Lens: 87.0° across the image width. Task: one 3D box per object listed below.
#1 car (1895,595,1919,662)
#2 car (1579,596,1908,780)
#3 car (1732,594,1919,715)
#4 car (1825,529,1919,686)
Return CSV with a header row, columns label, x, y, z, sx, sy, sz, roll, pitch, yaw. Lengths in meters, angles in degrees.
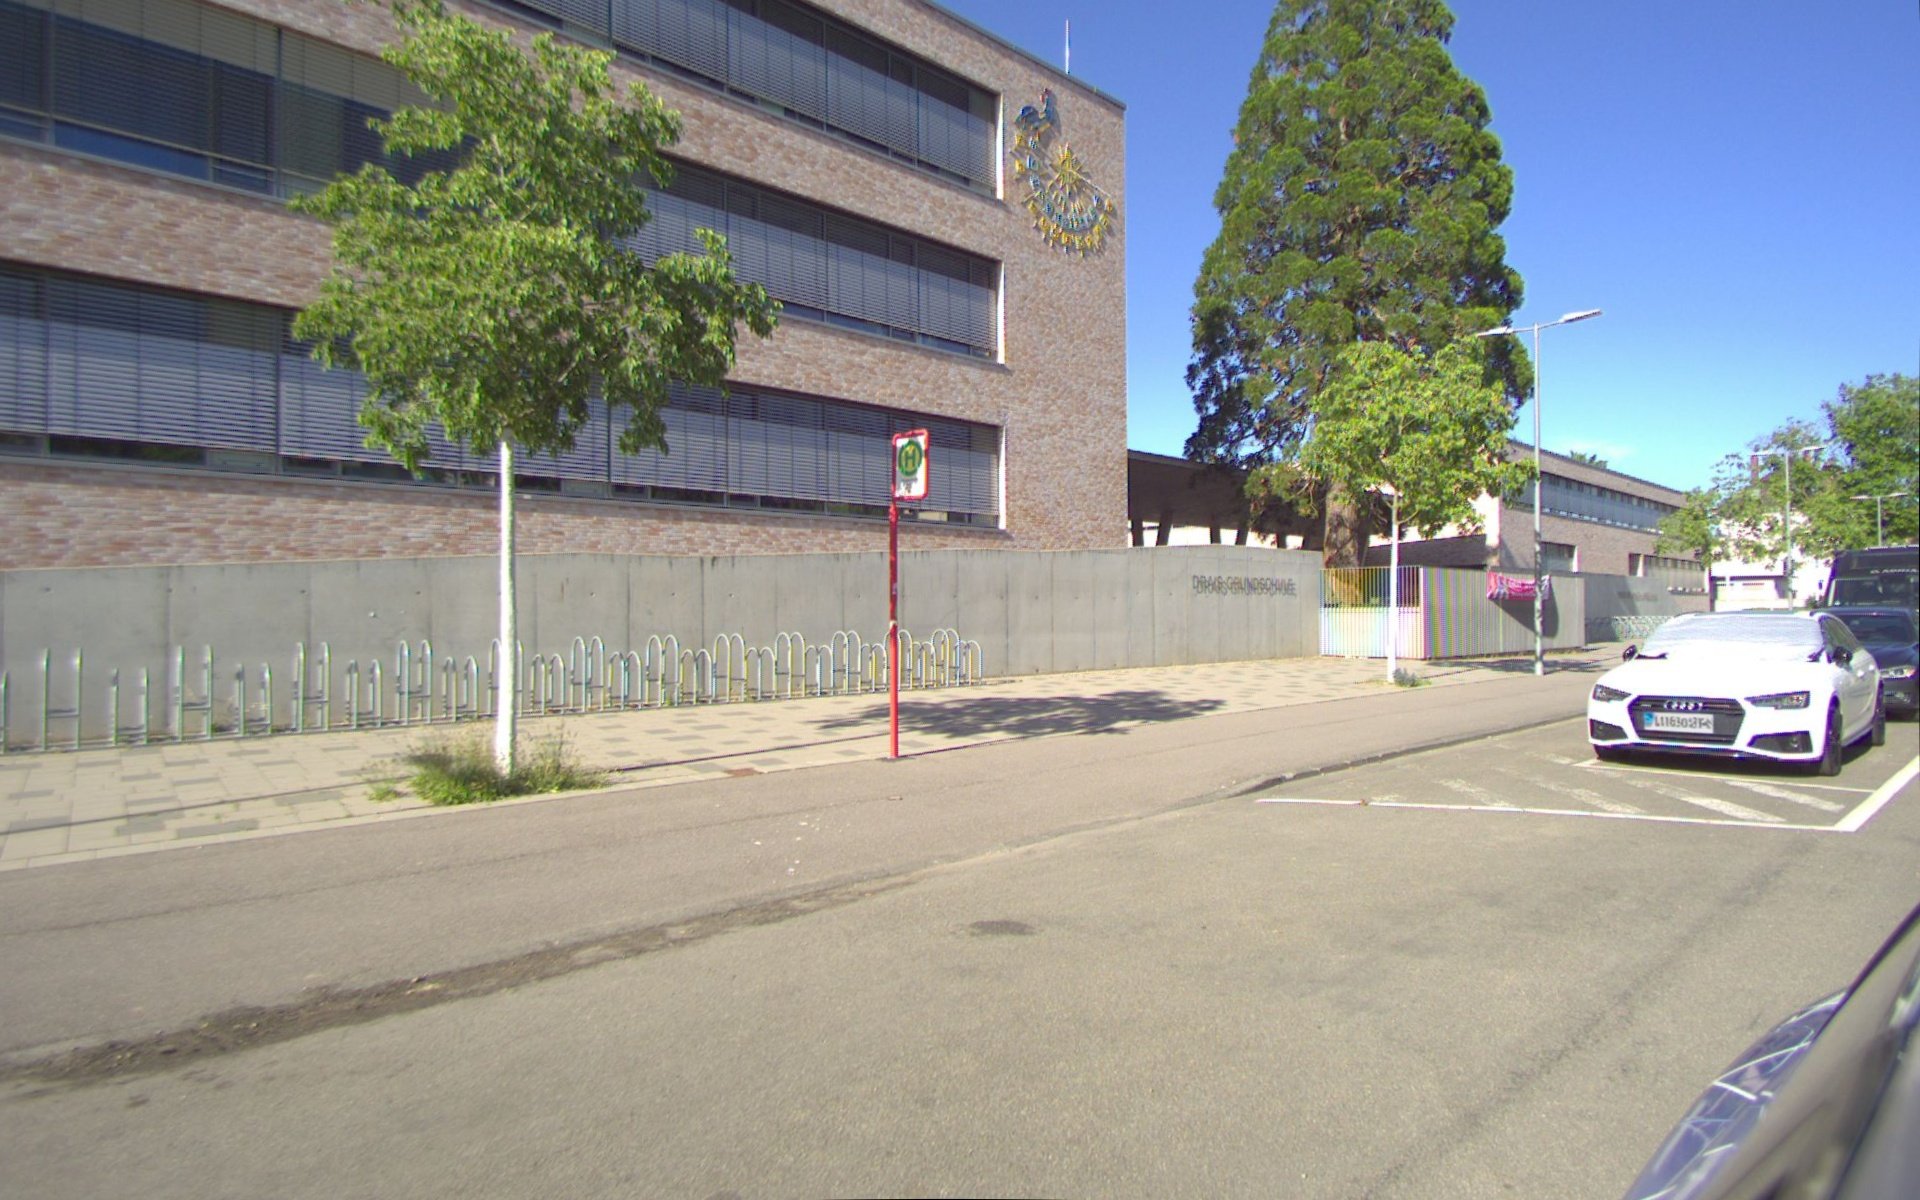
label,x,y,z,sx,sy,sz,roll,pitch,yaw
car,22.902,0.612,23.178,3.881,1.473,1.797,0,0,-42
car,8.030,0.693,10.195,4.577,1.438,1.797,0,0,-42
car,12.680,0.644,14.223,4.554,1.438,1.997,0,0,-40
car,17.870,0.095,18.680,6.421,2.547,2.117,0,0,-43
